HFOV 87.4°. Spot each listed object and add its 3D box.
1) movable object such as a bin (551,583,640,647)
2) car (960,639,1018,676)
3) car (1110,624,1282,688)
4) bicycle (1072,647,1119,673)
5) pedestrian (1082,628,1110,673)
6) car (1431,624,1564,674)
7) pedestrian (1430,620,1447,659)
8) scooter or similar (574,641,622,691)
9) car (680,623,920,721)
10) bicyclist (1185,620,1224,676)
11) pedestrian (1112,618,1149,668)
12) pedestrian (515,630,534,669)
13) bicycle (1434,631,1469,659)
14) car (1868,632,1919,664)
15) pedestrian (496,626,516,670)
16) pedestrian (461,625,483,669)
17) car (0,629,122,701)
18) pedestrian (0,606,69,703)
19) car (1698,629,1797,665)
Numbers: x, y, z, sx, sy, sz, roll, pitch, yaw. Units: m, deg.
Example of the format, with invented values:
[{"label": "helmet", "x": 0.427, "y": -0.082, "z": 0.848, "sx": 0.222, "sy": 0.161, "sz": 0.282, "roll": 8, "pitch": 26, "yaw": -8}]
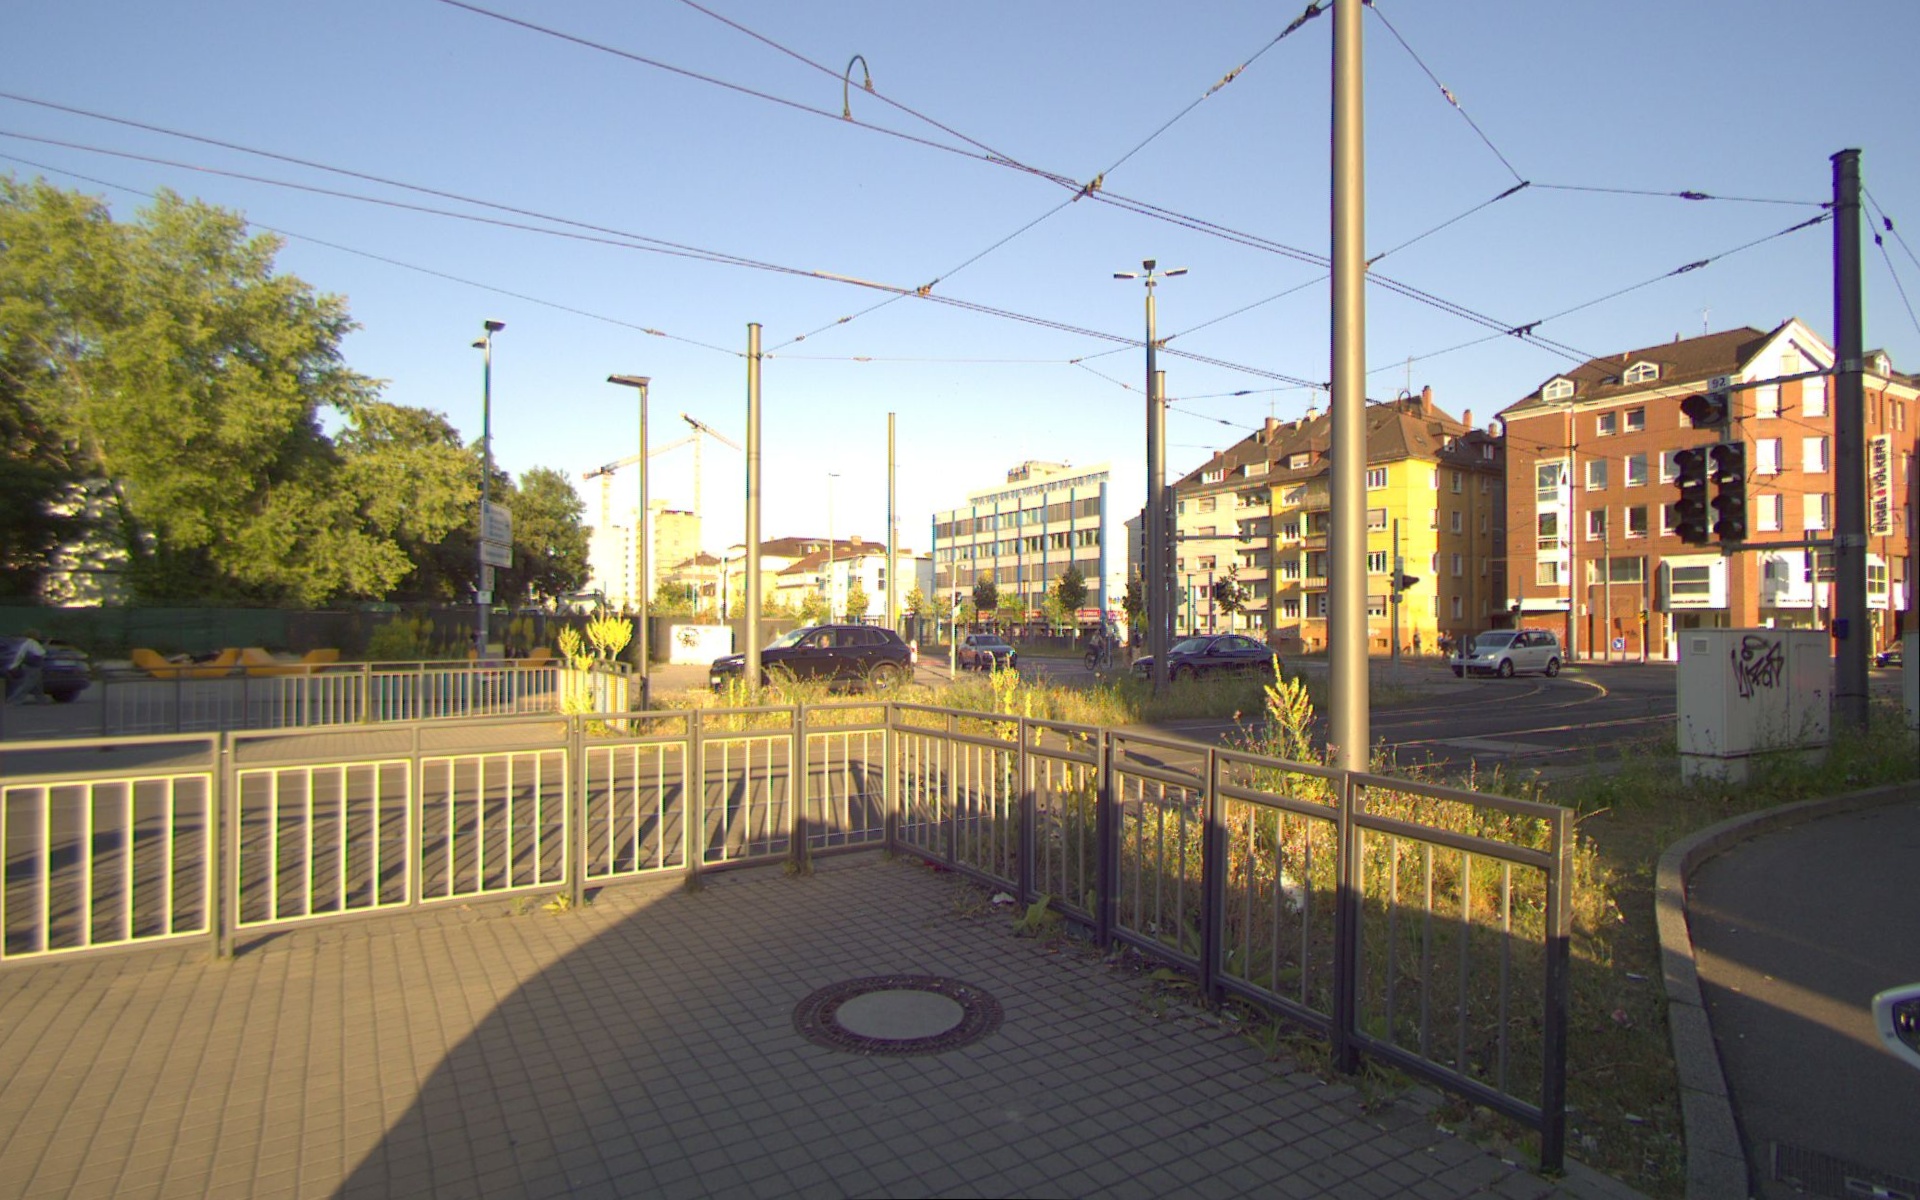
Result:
[{"label": "movable object such as a bin", "x": -19.309, "y": 0.818, "z": 53.395, "sx": 4.271, "sy": 3.271, "sz": 1.994, "roll": 1, "pitch": -1, "yaw": -15}, {"label": "car", "x": 1.326, "y": 2.728, "z": 48.157, "sx": 1.964, "sy": 1.639, "sz": 4.559, "roll": 0, "pitch": -2, "yaw": -9}, {"label": "car", "x": 6.450, "y": 1.470, "z": 27.344, "sx": 4.536, "sy": 1.606, "sz": 1.983, "roll": 1, "pitch": -2, "yaw": -32}, {"label": "bicycle", "x": 5.915, "y": 2.603, "z": 43.905, "sx": 0.887, "sy": 1.074, "sz": 1.987, "roll": 1, "pitch": -2, "yaw": -40}, {"label": "pedestrian", "x": 5.957, "y": 2.174, "z": 43.900, "sx": 0.888, "sy": 1.936, "sz": 0.836, "roll": 1, "pitch": -1, "yaw": -40}, {"label": "car", "x": 18.384, "y": 1.648, "z": 34.381, "sx": 4.057, "sy": 1.606, "sz": 1.988, "roll": 1, "pitch": -2, "yaw": -25}, {"label": "pedestrian", "x": 23.542, "y": 1.954, "z": 49.397, "sx": 0.557, "sy": 1.893, "sz": 0.499, "roll": 1, "pitch": 0, "yaw": -34}, {"label": "scooter or similar", "x": -9.785, "y": 1.772, "z": 27.181, "sx": 0.507, "sy": 1.289, "sz": 1.256, "roll": -1, "pitch": -2, "yaw": 21}, {"label": "car", "x": -3.413, "y": 1.474, "z": 21.743, "sx": 4.758, "sy": 1.926, "sz": 1.983, "roll": 1, "pitch": -2, "yaw": -32}, {"label": "bicyclist", "x": 7.568, "y": 1.473, "z": 31.144, "sx": 0.966, "sy": 1.711, "sz": 0.661, "roll": 1, "pitch": -2, "yaw": -23}, {"label": "pedestrian", "x": 6.882, "y": 1.739, "z": 40.564, "sx": 1.084, "sy": 1.970, "sz": 1.019, "roll": -1, "pitch": -2, "yaw": 42}, {"label": "pedestrian", "x": -17.091, "y": 1.921, "z": 39.423, "sx": 0.618, "sy": 1.515, "sz": 0.637, "roll": 1, "pitch": -2, "yaw": -30}, {"label": "bicycle", "x": 24.005, "y": 2.174, "z": 49.030, "sx": 1.994, "sy": 1.343, "sz": 0.614, "roll": 1, "pitch": 0, "yaw": -34}, {"label": "car", "x": 49.544, "y": 2.480, "z": 52.462, "sx": 4.429, "sy": 1.606, "sz": 1.983, "roll": 1, "pitch": -2, "yaw": -32}, {"label": "pedestrian", "x": -17.614, "y": 1.846, "z": 38.981, "sx": 0.594, "sy": 1.680, "sz": 0.530, "roll": 1, "pitch": -2, "yaw": -37}, {"label": "pedestrian", "x": -18.891, "y": 1.816, "z": 38.870, "sx": 0.528, "sy": 1.680, "sz": 0.597, "roll": -1, "pitch": -2, "yaw": 42}, {"label": "car", "x": -21.547, "y": 1.415, "z": 22.486, "sx": 3.920, "sy": 1.505, "sz": 2.001, "roll": 0, "pitch": -1, "yaw": 3}, {"label": "pedestrian", "x": -18.625, "y": 1.081, "z": 20.188, "sx": 0.751, "sy": 1.918, "sz": 0.729, "roll": 0, "pitch": -1, "yaw": -5}, {"label": "car", "x": 33.820, "y": 1.983, "z": 43.129, "sx": 4.145, "sy": 1.467, "sz": 1.664, "roll": 1, "pitch": -2, "yaw": -26}]
